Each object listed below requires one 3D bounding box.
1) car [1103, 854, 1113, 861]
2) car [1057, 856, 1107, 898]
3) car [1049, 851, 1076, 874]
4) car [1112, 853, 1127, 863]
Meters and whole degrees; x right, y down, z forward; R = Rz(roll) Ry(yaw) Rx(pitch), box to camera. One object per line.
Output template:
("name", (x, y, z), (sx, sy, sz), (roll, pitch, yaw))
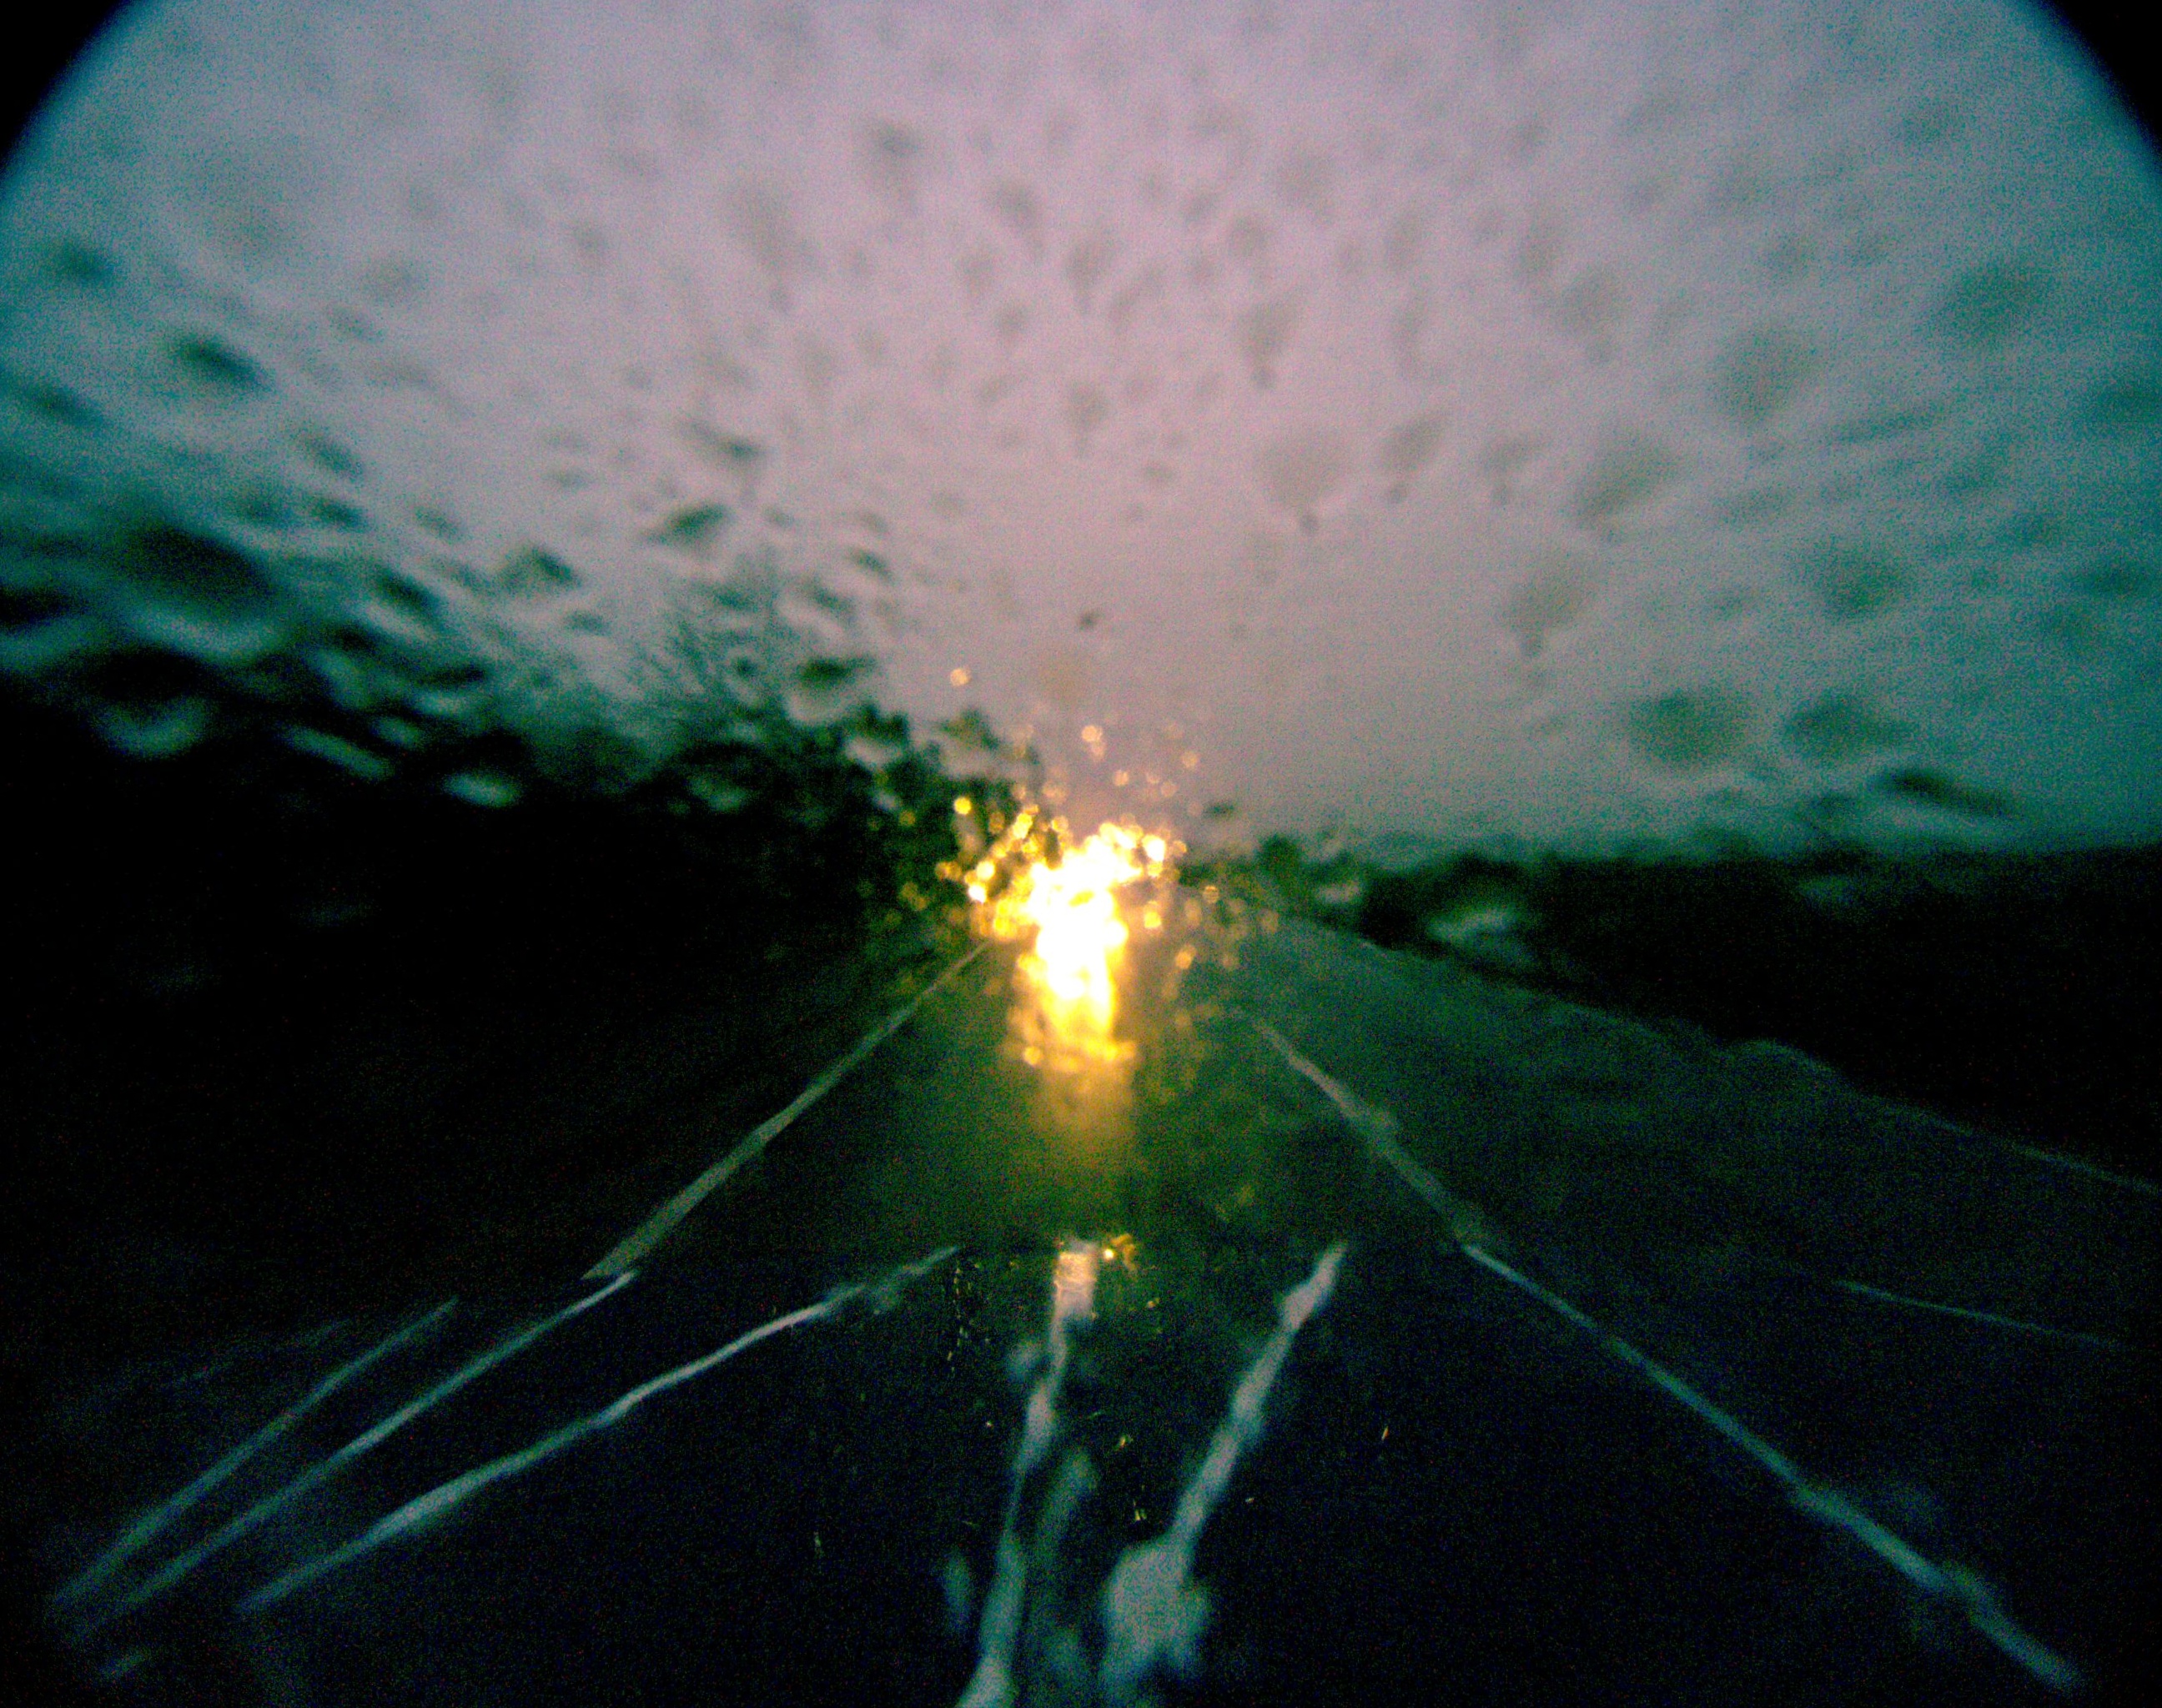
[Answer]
("car", (6.064, 0.743, 170.888), (1.998, 1.364, 4.397), (-2, 1, 1))
("car", (0.032, 0.894, 30.867), (1.844, 1.484, 3.956), (-2, 1, 0))
("car", (-1.478, 0.674, 62.073), (1.933, 1.740, 4.000), (-2, 1, 1))
("car", (5.664, 0.567, 113.225), (1.998, 1.455, 4.351), (3, 1, 1))
